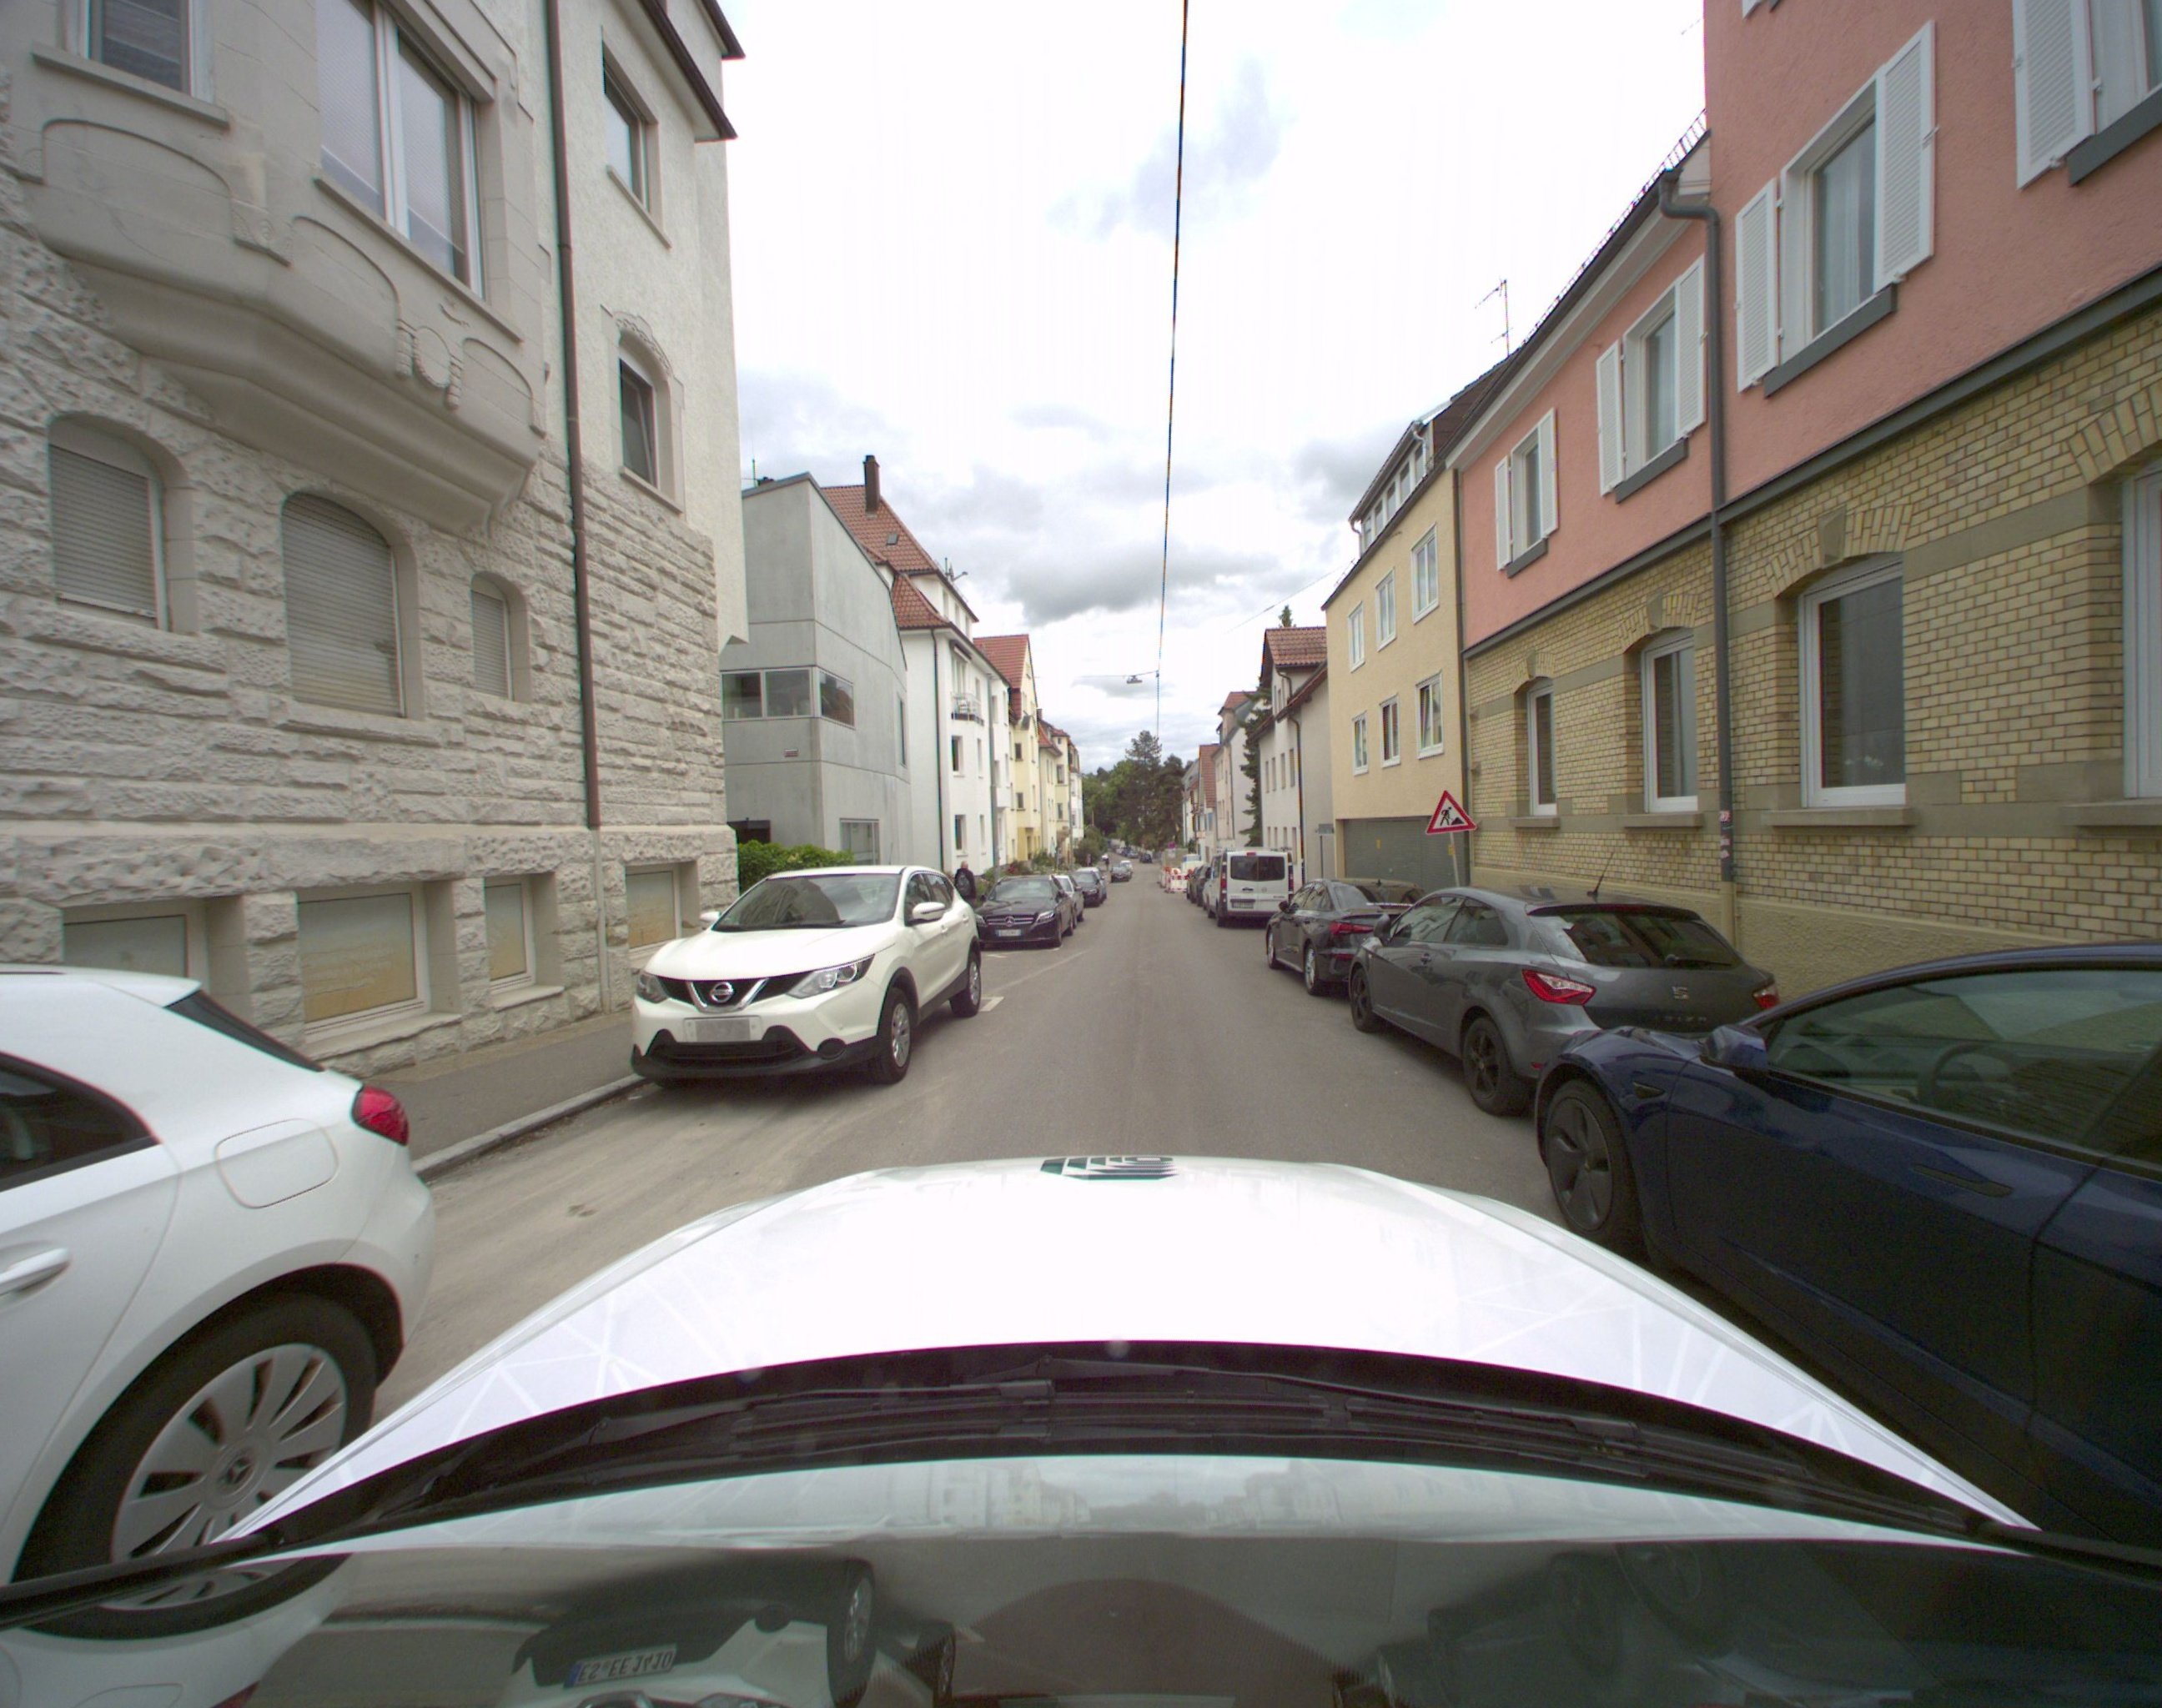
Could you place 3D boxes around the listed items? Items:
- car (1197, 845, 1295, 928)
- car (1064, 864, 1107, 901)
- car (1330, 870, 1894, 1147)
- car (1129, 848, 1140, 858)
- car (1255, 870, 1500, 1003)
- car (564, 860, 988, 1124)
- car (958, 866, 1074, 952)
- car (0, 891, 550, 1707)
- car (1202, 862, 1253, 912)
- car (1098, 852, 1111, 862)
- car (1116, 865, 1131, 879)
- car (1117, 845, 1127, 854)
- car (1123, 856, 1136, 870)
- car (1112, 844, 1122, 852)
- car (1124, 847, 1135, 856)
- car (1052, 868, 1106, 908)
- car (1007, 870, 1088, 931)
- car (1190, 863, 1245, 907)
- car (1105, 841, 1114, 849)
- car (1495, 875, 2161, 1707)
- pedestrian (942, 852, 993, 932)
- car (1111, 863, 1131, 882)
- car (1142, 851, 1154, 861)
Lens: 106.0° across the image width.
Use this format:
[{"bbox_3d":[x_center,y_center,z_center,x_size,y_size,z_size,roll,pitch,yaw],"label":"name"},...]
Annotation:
[{"bbox_3d":[4.476,0.805,22.901,1.897,2.030,5.737,0,0,3],"label":"car"},{"bbox_3d":[0.271,1.344,39.684,1.837,1.631,4.289,-2,0,2],"label":"car"},{"bbox_3d":[3.416,0.857,6.296,1.846,1.403,3.968,0,0,1],"label":"car"},{"bbox_3d":[9.907,-0.199,150.318,1.631,1.483,3.525,-1,3,-5],"label":"car"},{"bbox_3d":[3.639,0.942,10.965,1.844,1.403,4.578,0,-2,3],"label":"car"},{"bbox_3d":[-2.073,0.843,6.988,1.837,1.515,4.243,-2,0,2],"label":"car"},{"bbox_3d":[-1.236,1.067,17.501,1.888,1.527,4.473,-2,0,2],"label":"car"},{"bbox_3d":[-2.587,0.835,0.399,1.692,1.414,4.243,-2,0,3],"label":"car"},{"bbox_3d":[4.913,1.081,27.565,1.480,1.596,2.795,0,0,5],"label":"car"},{"bbox_3d":[4.198,0.506,147.902,1.672,1.656,3.852,-3,2,-8],"label":"car"},{"bbox_3d":[4.869,2.081,93.449,1.635,1.417,3.987,-3,0,3],"label":"car"},{"bbox_3d":[8.070,-0.880,161.188,1.631,1.537,3.525,-1,3,-5],"label":"car"},{"bbox_3d":[6.607,1.237,111.778,1.665,1.656,3.868,-3,2,3],"label":"car"},{"bbox_3d":[7.458,-1.202,166.740,1.631,1.537,3.525,-1,3,-5],"label":"car"},{"bbox_3d":[9.152,-0.490,154.945,1.631,1.483,3.525,-1,3,-5],"label":"car"},{"bbox_3d":[-0.004,1.362,33.839,1.836,1.457,4.510,-3,-1,4],"label":"car"},{"bbox_3d":[-0.845,1.238,23.345,1.837,1.413,5.065,-2,0,3],"label":"car"},{"bbox_3d":[5.312,1.173,32.184,1.705,1.596,4.503,0,0,4],"label":"car"},{"bbox_3d":[6.275,-1.967,181.518,1.631,1.537,3.525,-1,3,-5],"label":"car"},{"bbox_3d":[2.748,0.795,1.725,1.844,1.403,4.297,0,0,4],"label":"car"},{"bbox_3d":[-2.756,0.905,19.781,0.809,1.884,0.852,-3,-1,27],"label":"pedestrian"},{"bbox_3d":[4.082,1.845,83.014,1.838,1.815,4.546,-3,-1,1],"label":"car"},{"bbox_3d":[11.358,0.330,138.316,1.631,1.483,3.527,0,3,-3],"label":"car"}]
